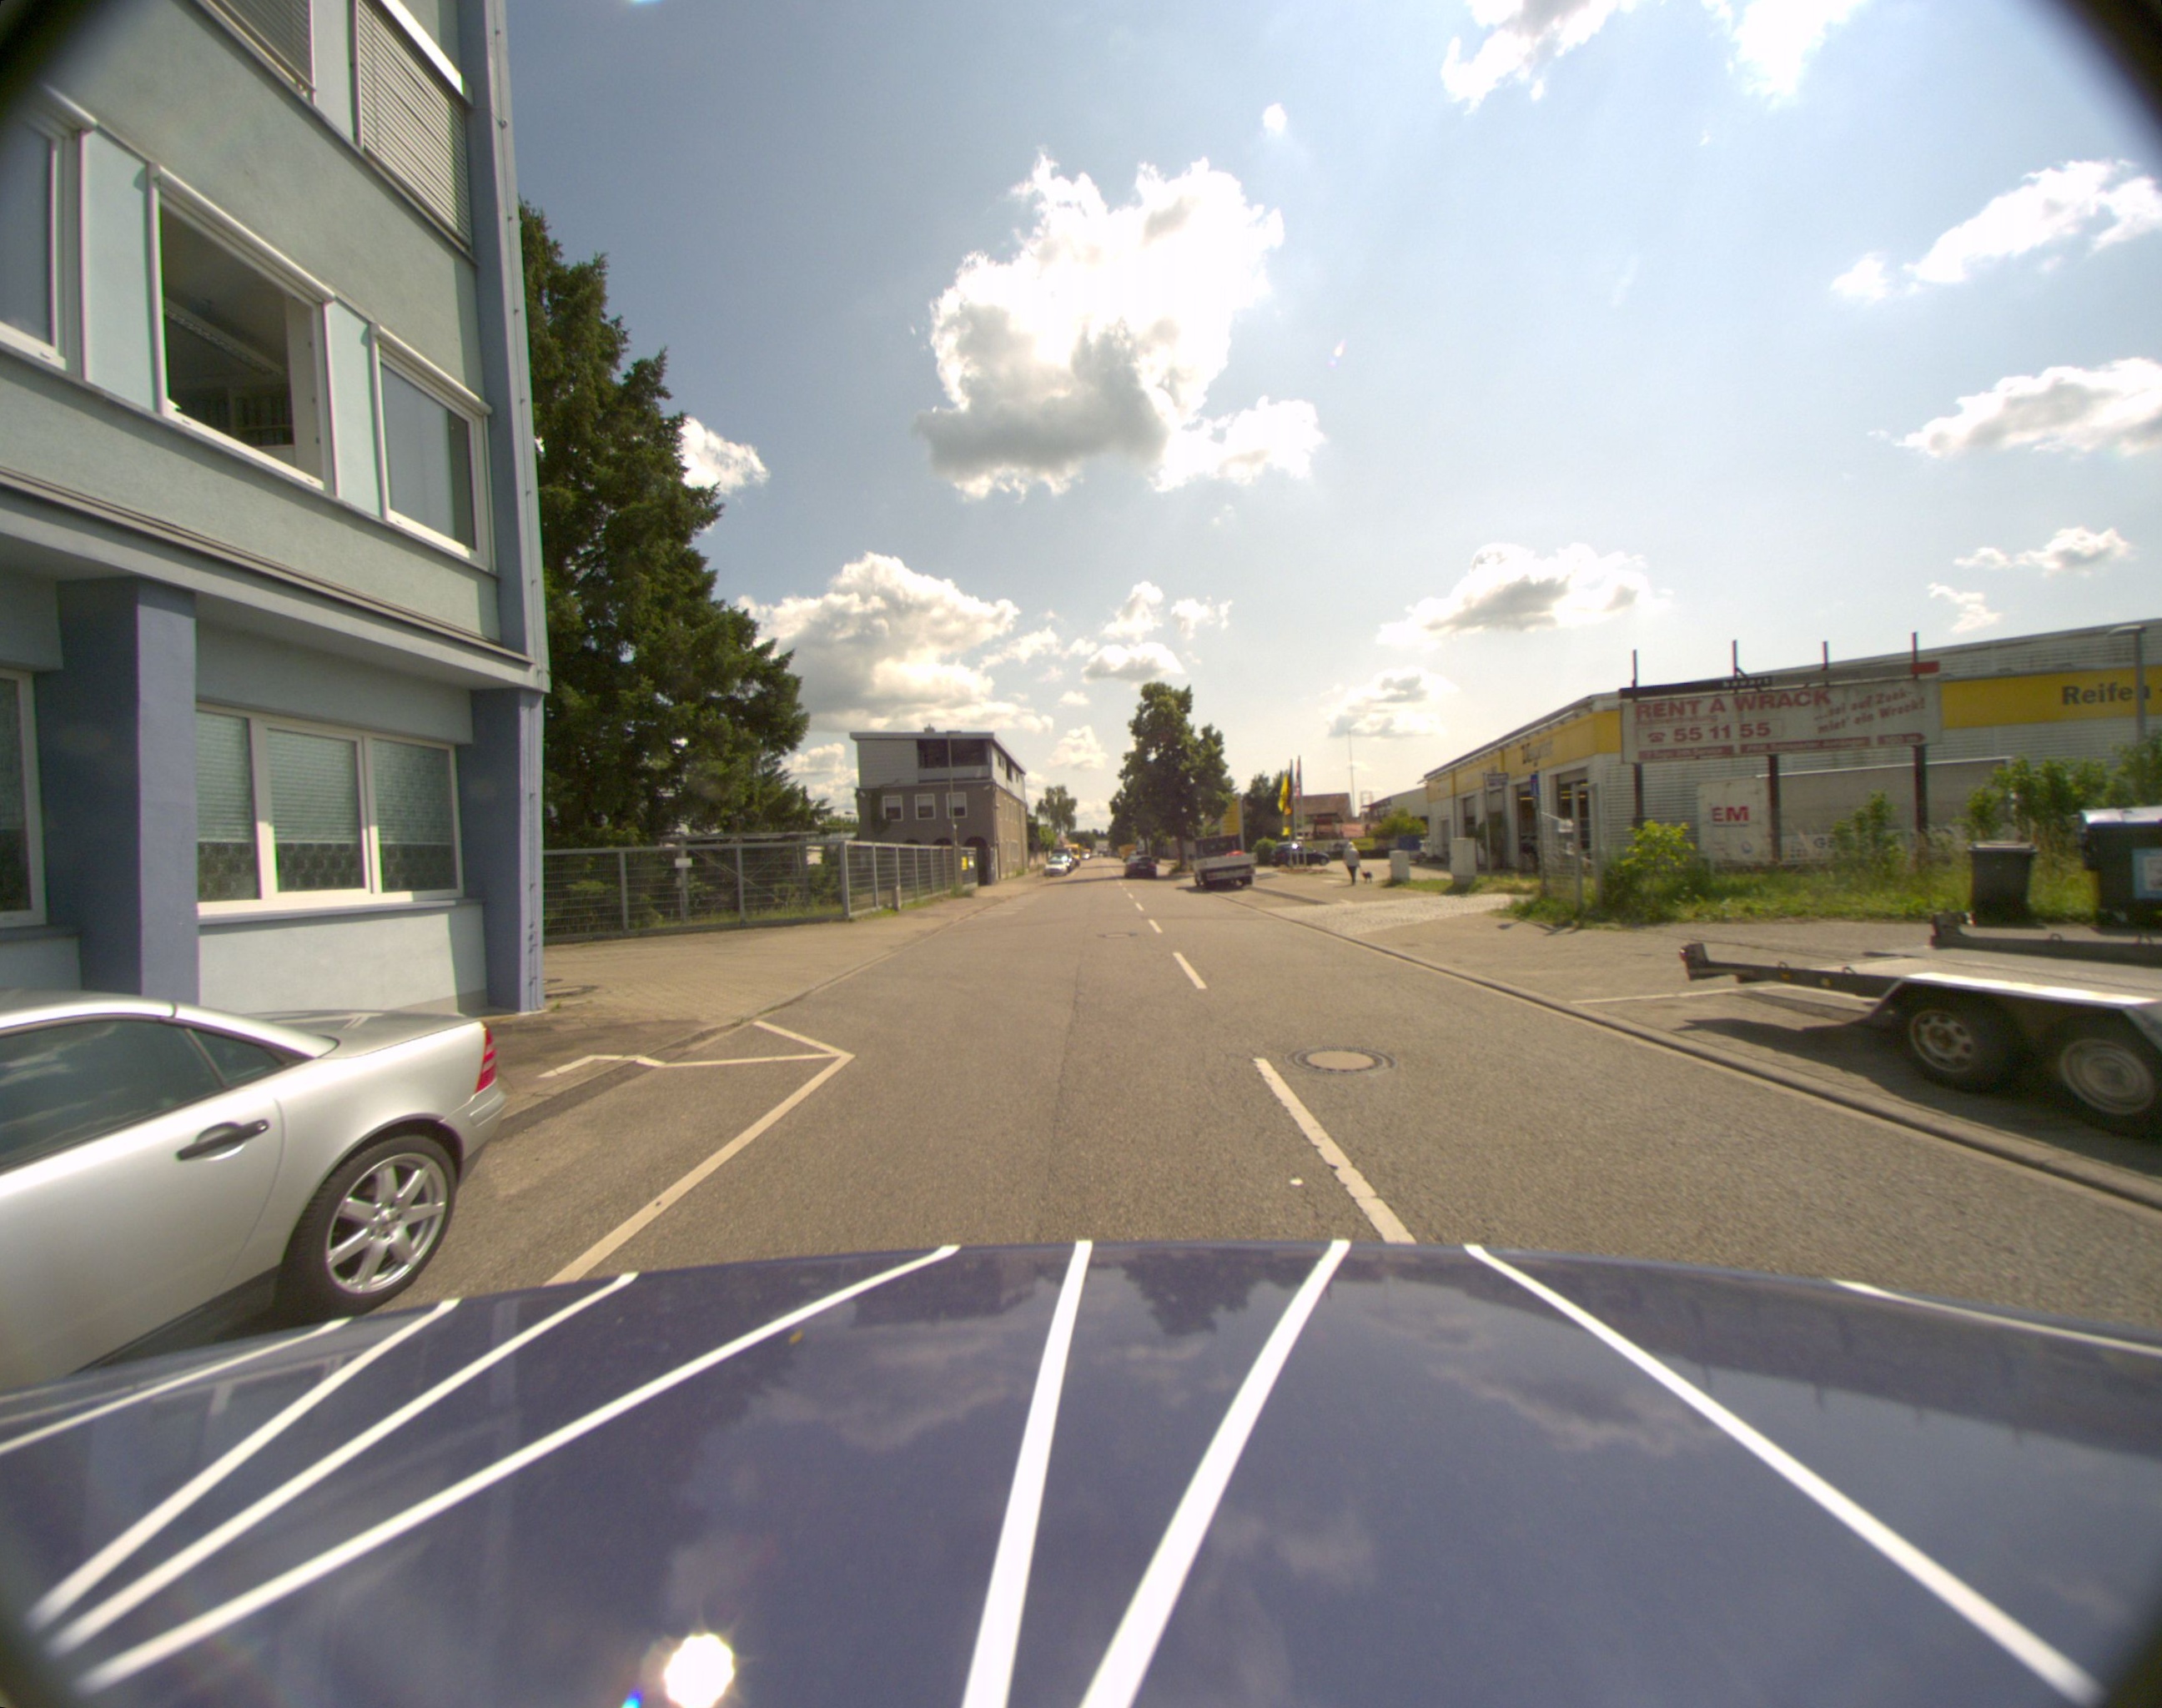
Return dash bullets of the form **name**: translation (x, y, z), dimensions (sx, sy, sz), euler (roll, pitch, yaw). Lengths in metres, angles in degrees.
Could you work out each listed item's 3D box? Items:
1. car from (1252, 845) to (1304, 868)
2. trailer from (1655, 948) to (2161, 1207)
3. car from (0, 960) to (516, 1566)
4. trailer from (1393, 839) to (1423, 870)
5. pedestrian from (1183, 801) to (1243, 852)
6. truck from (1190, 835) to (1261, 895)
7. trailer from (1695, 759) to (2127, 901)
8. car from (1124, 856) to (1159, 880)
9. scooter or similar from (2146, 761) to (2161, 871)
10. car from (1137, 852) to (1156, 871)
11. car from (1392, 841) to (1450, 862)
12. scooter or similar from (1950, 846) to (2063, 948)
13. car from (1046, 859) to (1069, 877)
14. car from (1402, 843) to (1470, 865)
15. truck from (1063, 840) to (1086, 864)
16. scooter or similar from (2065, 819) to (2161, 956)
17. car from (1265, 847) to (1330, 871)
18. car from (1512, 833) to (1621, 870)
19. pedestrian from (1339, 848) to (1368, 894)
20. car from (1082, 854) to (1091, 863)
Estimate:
- **car**: translation (16.578, 0.212, 64.188), dimensions (4.093, 1.703, 1.680), euler (-2, 0, 10)
- **trailer**: translation (5.939, 1.189, 4.137), dimensions (2.241, 0.549, 4.444), euler (-6, 0, 0)
- **car**: translation (-3.468, 1.135, 1.494), dimensions (1.651, 1.239, 4.000), euler (-2, 0, 1)
- **trailer**: translation (18.911, 0.012, 44.060), dimensions (1.268, 1.682, 2.972), euler (-3, 1, 18)
- **pedestrian**: translation (5.723, -1.175, 33.420), dimensions (1.998, 2.002, 4.000), euler (-3, 1, 3)
- **truck**: translation (6.356, 0.442, 34.283), dimensions (2.133, 2.225, 7.351), euler (-5, 0, 4)
- **trailer**: translation (19.222, -0.474, 18.128), dimensions (6.527, 2.835, 2.761), euler (-2, 0, 12)
- **car**: translation (3.706, 0.834, 47.170), dimensions (1.789, 1.430, 4.309), euler (1, 0, 0)
- **scooter or similar**: translation (27.271, -0.971, 15.956), dimensions (5.472, 2.540, 2.003), euler (-2, 0, 21)
- **car**: translation (8.676, 0.983, 99.846), dimensions (1.997, 2.289, 4.003), euler (-2, 0, 11)
- **car**: translation (27.656, -0.201, 61.965), dimensions (3.993, 1.600, 1.851), euler (-2, 0, 13)
- **scooter or similar**: translation (12.445, 0.555, 10.254), dimensions (0.884, 1.268, 0.895), euler (-3, 1, -43)
- **car**: translation (-1.835, 1.072, 60.527), dimensions (1.657, 1.324, 4.000), euler (-2, 0, 1)
- **car**: translation (26.010, -0.006, 55.750), dimensions (4.276, 1.474, 1.672), euler (-2, 1, 15)
- **truck**: translation (-0.768, -0.272, 92.939), dimensions (2.402, 2.787, 6.376), euler (-2, 0, 3)
- **scooter or similar**: translation (12.976, 0.376, 9.110), dimensions (1.172, 1.577, 1.316), euler (-3, 0, -43)
- **car**: translation (14.602, 0.331, 51.230), dimensions (3.847, 1.405, 1.857), euler (-4, 1, -21)
- **car**: translation (21.164, -0.088, 33.269), dimensions (3.577, 1.428, 1.792), euler (-2, 0, 14)
- **pedestrian**: translation (9.425, 0.574, 26.330), dimensions (0.661, 1.536, 0.918), euler (-2, 0, 2)
- **car**: translation (1.315, 1.112, 186.512), dimensions (1.998, 2.002, 4.001), euler (-2, 0, 3)
